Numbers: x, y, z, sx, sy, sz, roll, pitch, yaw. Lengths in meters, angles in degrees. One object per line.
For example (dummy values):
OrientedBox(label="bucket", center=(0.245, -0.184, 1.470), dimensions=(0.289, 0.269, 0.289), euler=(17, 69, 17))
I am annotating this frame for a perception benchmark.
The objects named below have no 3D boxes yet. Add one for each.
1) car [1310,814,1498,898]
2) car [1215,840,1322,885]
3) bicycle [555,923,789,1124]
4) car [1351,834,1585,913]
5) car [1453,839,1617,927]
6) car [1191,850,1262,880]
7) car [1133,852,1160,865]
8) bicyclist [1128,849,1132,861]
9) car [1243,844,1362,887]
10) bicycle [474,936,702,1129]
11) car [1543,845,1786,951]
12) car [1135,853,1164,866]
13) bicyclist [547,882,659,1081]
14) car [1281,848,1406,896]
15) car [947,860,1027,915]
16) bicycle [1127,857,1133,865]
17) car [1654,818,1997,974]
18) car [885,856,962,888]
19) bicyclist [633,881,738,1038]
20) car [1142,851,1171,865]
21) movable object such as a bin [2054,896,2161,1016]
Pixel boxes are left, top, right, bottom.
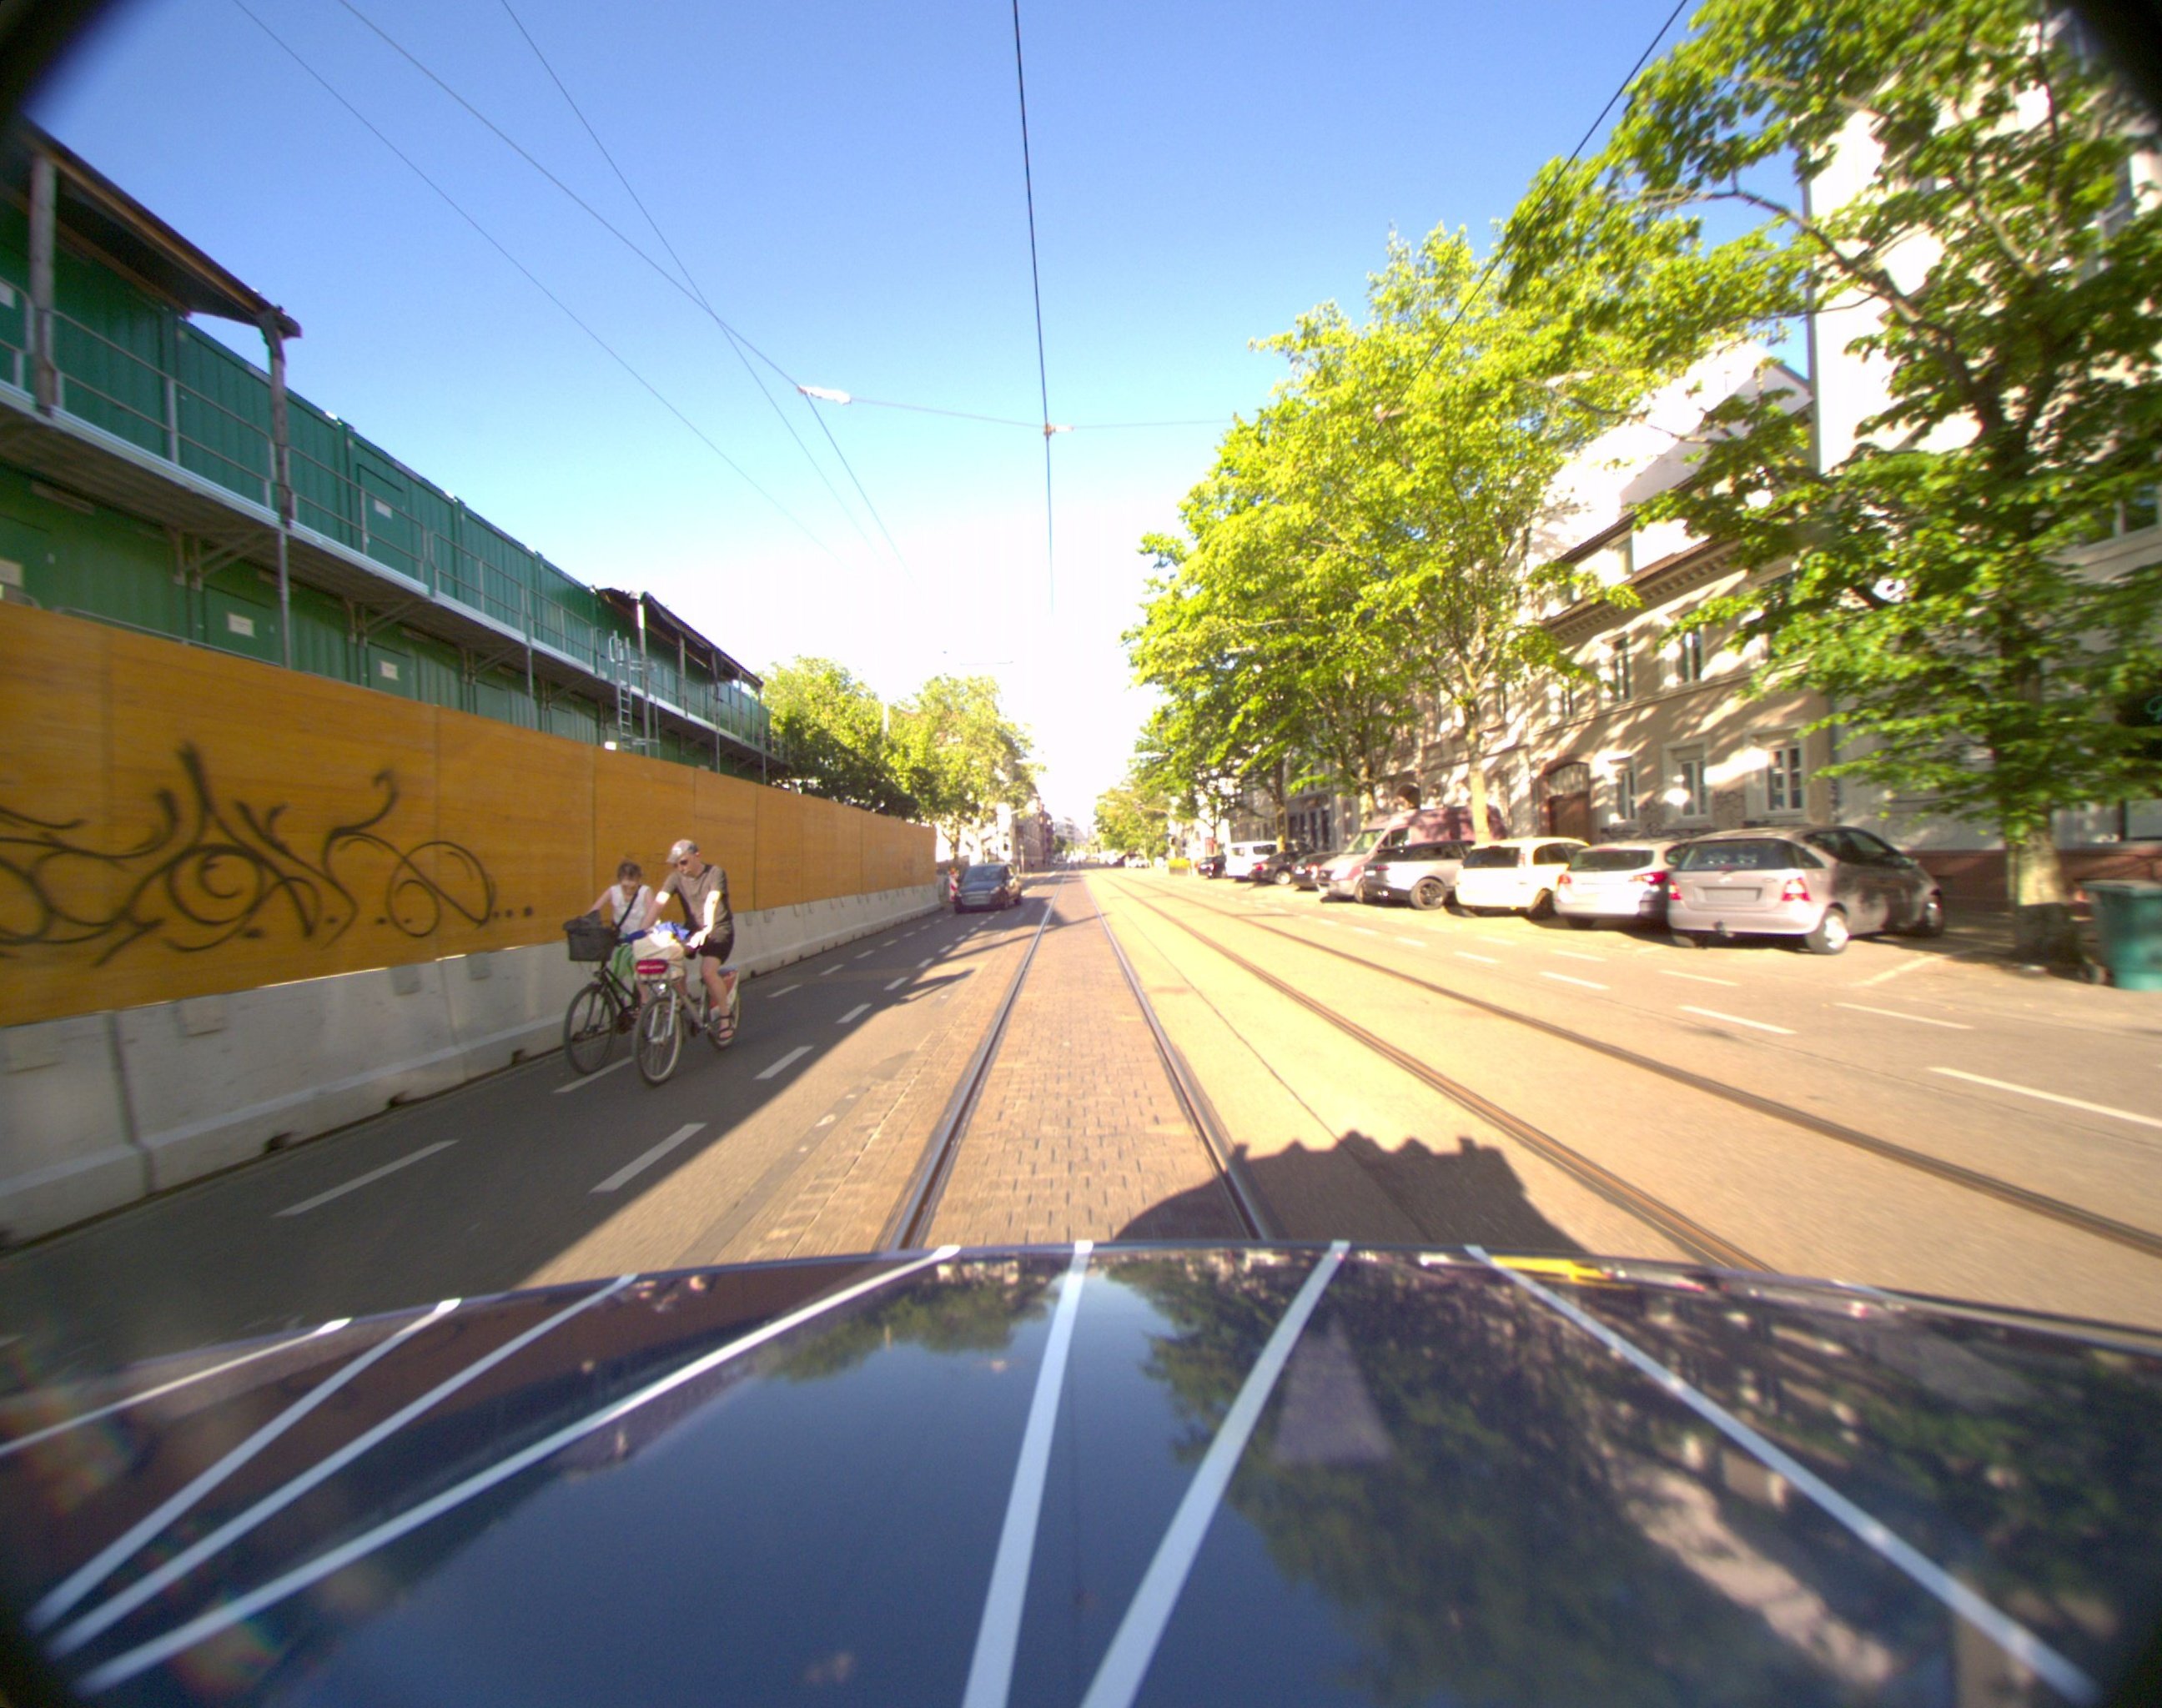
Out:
OrientedBox(label="car", center=(9.225, 0.050, 22.008), dimensions=(4.449, 2.105, 2.163), euler=(-3, 0, -3))
OrientedBox(label="car", center=(9.394, 0.391, 38.055), dimensions=(4.946, 2.002, 2.071), euler=(-2, 0, -24))
OrientedBox(label="bicycle", center=(-3.273, 1.281, 6.408), dimensions=(0.669, 1.148, 2.276), euler=(-3, 0, 0))
OrientedBox(label="car", center=(9.745, 0.465, 19.429), dimensions=(4.842, 1.714, 2.163), euler=(-2, 0, -3))
OrientedBox(label="car", center=(9.524, 0.552, 15.908), dimensions=(3.379, 1.544, 1.381), euler=(-4, 1, -29))
OrientedBox(label="car", center=(8.883, 0.637, 46.237), dimensions=(4.005, 1.549, 1.777), euler=(-4, 1, -30))
OrientedBox(label="car", center=(8.500, 0.555, 98.284), dimensions=(3.337, 1.445, 1.496), euler=(-3, 2, 2))
OrientedBox(label="bicyclist", center=(5.979, 0.125, 92.640), dimensions=(0.419, 1.462, 0.590), euler=(-1, 0, -4))
OrientedBox(label="car", center=(9.966, 0.511, 34.433), dimensions=(4.708, 1.567, 1.953), euler=(-4, 0, -5))
OrientedBox(label="bicycle", center=(-4.086, 1.399, 6.561), dimensions=(0.559, 1.120, 2.275), euler=(-1, 0, -3))
OrientedBox(label="car", center=(9.876, 0.651, 12.811), dimensions=(4.178, 1.543, 1.698), euler=(0, 0, -29))
OrientedBox(label="car", center=(8.582, 0.657, 95.348), dimensions=(3.337, 1.445, 1.496), euler=(-3, 2, 1))
OrientedBox(label="bicyclist", center=(-4.095, 1.060, 6.545), dimensions=(0.557, 1.603, 0.576), euler=(-1, 0, -2))
OrientedBox(label="car", center=(9.698, 0.626, 28.146), dimensions=(4.101, 1.445, 1.668), euler=(-4, 1, -16))
OrientedBox(label="car", center=(-3.142, 1.078, 26.138), dimensions=(1.749, 1.612, 4.171), euler=(-4, 0, 6))
OrientedBox(label="bicycle", center=(5.985, 0.823, 92.678), dimensions=(0.451, 0.930, 1.757), euler=(-1, 0, -4))
OrientedBox(label="car", center=(9.975, 0.463, 10.204), dimensions=(4.003, 1.667, 1.700), euler=(-3, 0, -20))
OrientedBox(label="car", center=(-10.918, 1.210, 52.779), dimensions=(4.794, 1.998, 2.000), euler=(-2, 0, 3))
OrientedBox(label="bicyclist", center=(-3.252, 0.855, 6.275), dimensions=(0.653, 1.230, 0.353), euler=(-1, 0, -2))
OrientedBox(label="car", center=(8.958, 0.512, 90.494), dimensions=(3.336, 1.445, 1.496), euler=(-3, 2, 3))
OrientedBox(label="movable object such as a bin", center=(9.258, 0.866, 6.649), dimensions=(0.623, 0.939, 0.670), euler=(-2, 1, -2))
